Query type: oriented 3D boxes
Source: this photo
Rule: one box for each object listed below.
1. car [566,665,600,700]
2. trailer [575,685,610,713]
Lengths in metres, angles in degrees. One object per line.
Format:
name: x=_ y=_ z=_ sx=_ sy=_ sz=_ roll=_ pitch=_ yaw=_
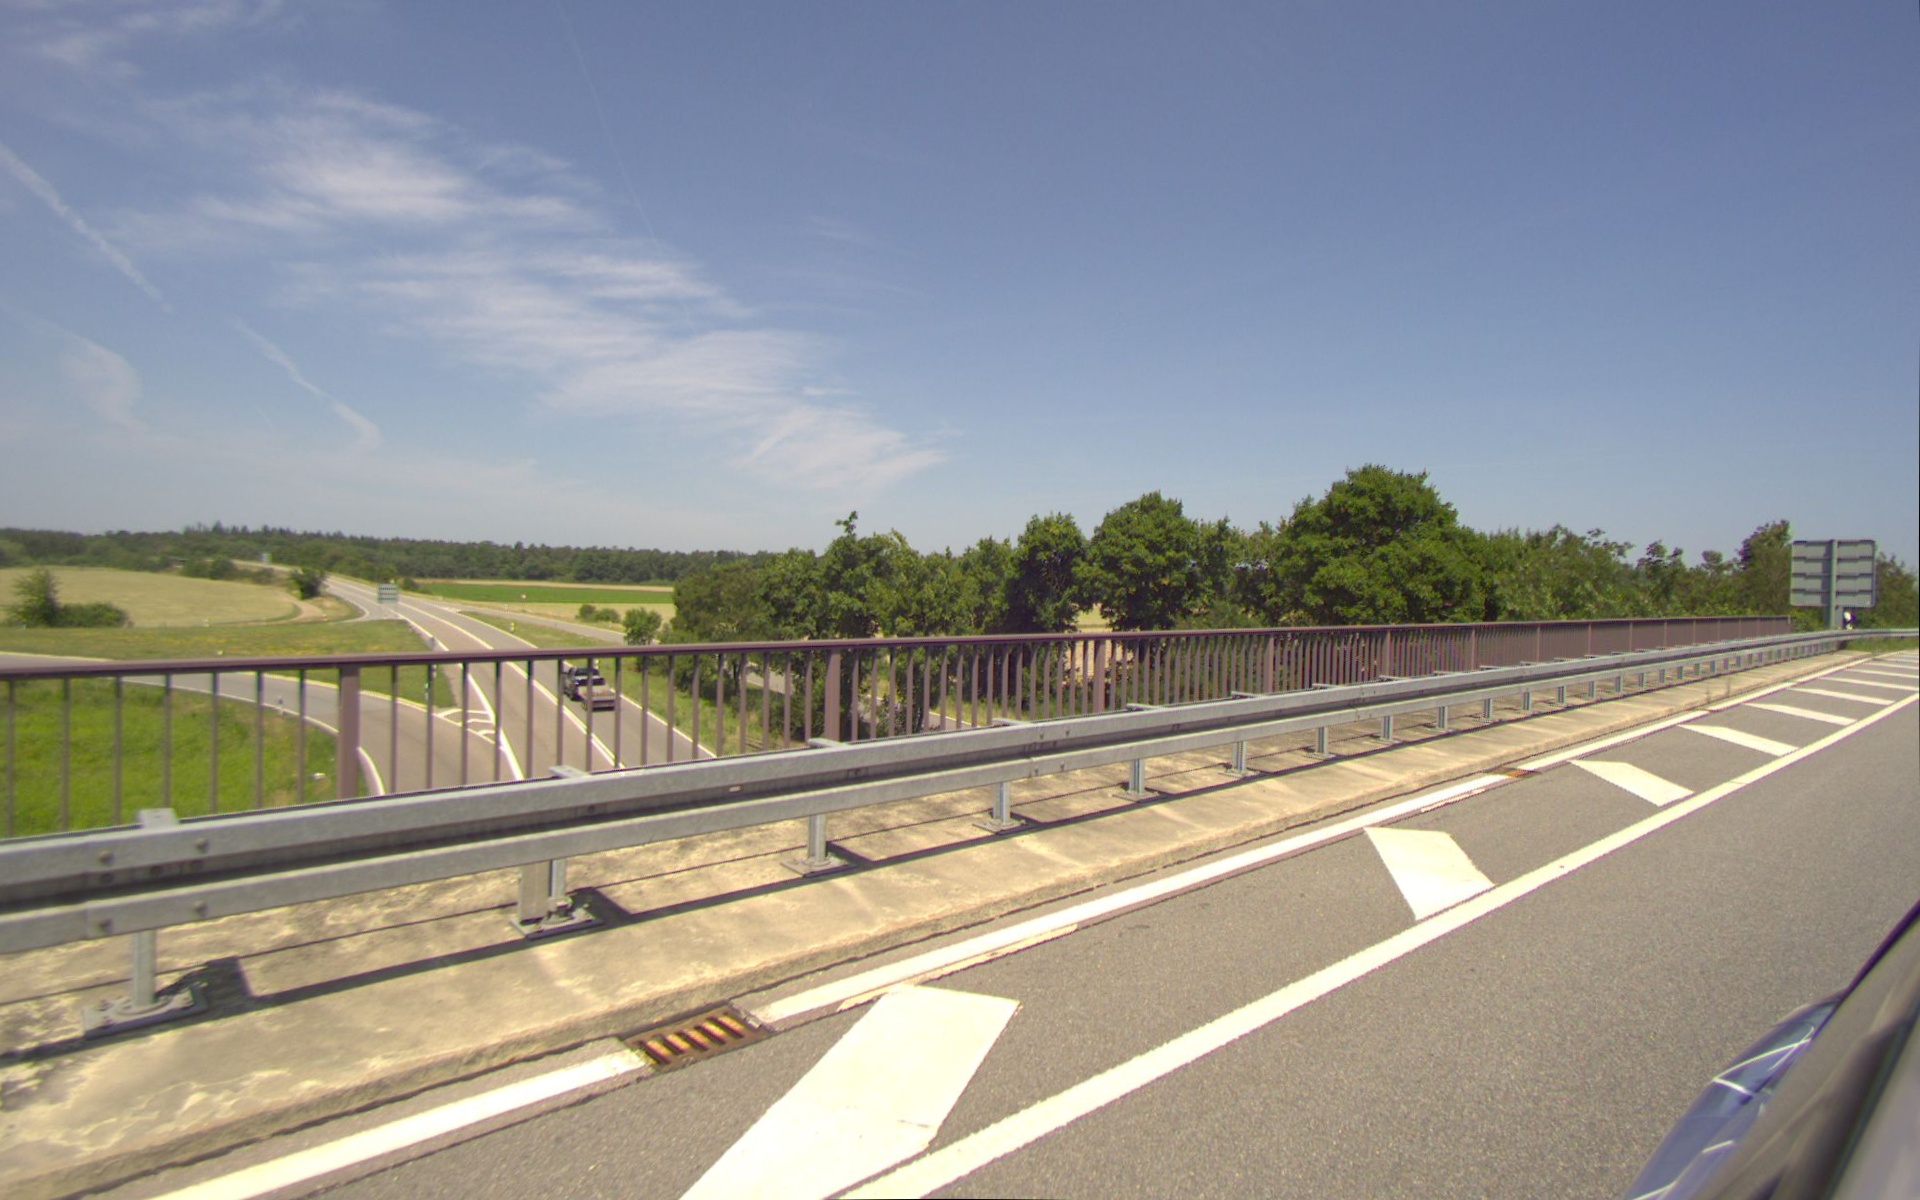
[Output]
car: x=-22.345 y=4.839 z=59.933 sx=1.477 sy=1.615 sz=3.674 roll=0 pitch=2 yaw=-28
trailer: x=-20.460 y=5.457 z=56.255 sx=1.241 sy=1.060 sz=4.484 roll=0 pitch=1 yaw=-28
